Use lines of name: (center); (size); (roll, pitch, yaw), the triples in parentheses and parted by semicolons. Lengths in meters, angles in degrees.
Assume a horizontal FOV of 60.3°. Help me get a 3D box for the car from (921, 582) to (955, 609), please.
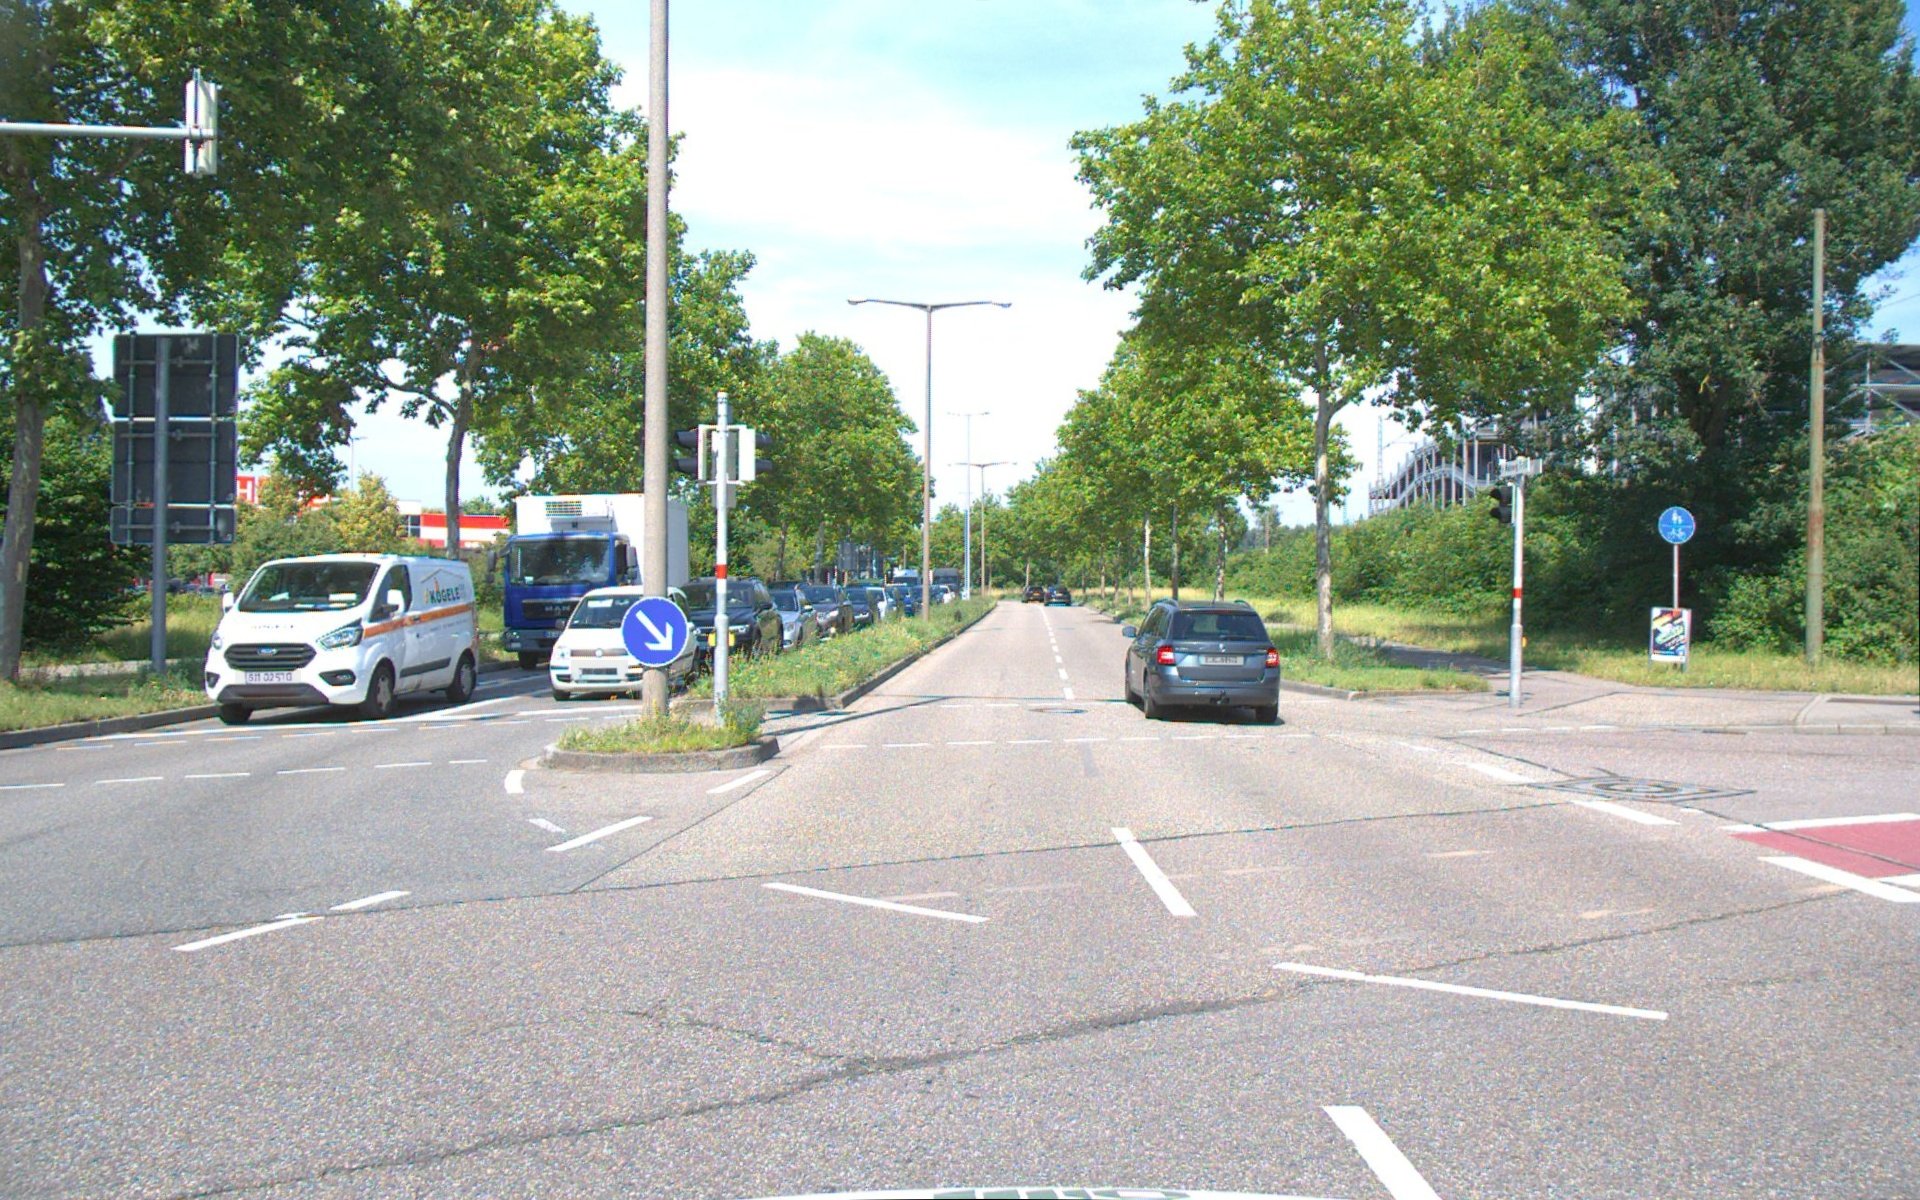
car: (-1.265, -0.291, 96.107); (1.746, 1.484, 4.474); (0, 1, 2)

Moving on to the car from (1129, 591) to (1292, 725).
car: (3.154, 0.676, 21.484); (1.639, 1.478, 4.037); (2, 1, 3)

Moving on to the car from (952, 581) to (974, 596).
car: (0.362, -1.302, 184.617); (1.769, 1.537, 3.805); (1, 1, -10)

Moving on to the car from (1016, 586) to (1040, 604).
car: (5.978, -0.430, 146.512); (1.869, 1.488, 4.582); (1, 1, -1)

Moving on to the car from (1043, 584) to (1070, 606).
car: (6.777, -0.371, 116.625); (1.868, 1.488, 4.623); (1, 1, 3)

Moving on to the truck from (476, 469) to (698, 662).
truck: (-7.484, -0.698, 34.196); (2.745, 3.532, 6.694); (-1, 1, 2)

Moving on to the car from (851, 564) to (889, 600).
car: (-4.871, -0.941, 89.778); (1.653, 1.891, 4.038); (0, 0, 2)

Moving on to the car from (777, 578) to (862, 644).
car: (-3.609, 0.252, 43.061); (1.653, 1.614, 4.242); (0, 1, 2)

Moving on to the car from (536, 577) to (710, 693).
car: (-4.711, 0.437, 23.600); (1.559, 1.503, 3.731); (0, 1, 2)

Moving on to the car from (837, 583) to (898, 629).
car: (-3.091, 0.172, 55.873); (1.653, 1.497, 3.816); (0, 1, 2)

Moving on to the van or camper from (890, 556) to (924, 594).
van or camper: (-3.752, -1.774, 117.321); (1.973, 2.633, 5.519); (0, 1, 2)

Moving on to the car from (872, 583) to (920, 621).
car: (-2.623, 0.048, 68.565); (1.747, 1.515, 4.212); (0, 1, 1)

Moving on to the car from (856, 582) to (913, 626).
car: (-2.840, 0.122, 63.309); (1.721, 1.556, 4.829); (-1, 1, 2)

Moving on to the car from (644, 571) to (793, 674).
car: (-4.205, 0.378, 29.546); (1.782, 1.675, 4.695); (0, 0, 2)

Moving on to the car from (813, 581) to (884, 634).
car: (-3.350, 0.198, 50.315); (1.653, 1.499, 4.220); (-1, 1, 2)

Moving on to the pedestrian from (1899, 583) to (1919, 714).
pedestrian: (12.429, 0.608, 20.745); (0.850, 1.640, 0.778); (1, 1, 2)

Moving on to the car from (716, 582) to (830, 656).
car: (-4.015, 0.365, 36.160); (1.759, 1.493, 4.525); (0, 1, 3)

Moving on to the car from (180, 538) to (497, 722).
car: (-7.683, 0.299, 21.087); (1.935, 2.034, 5.034); (1, 1, 3)
